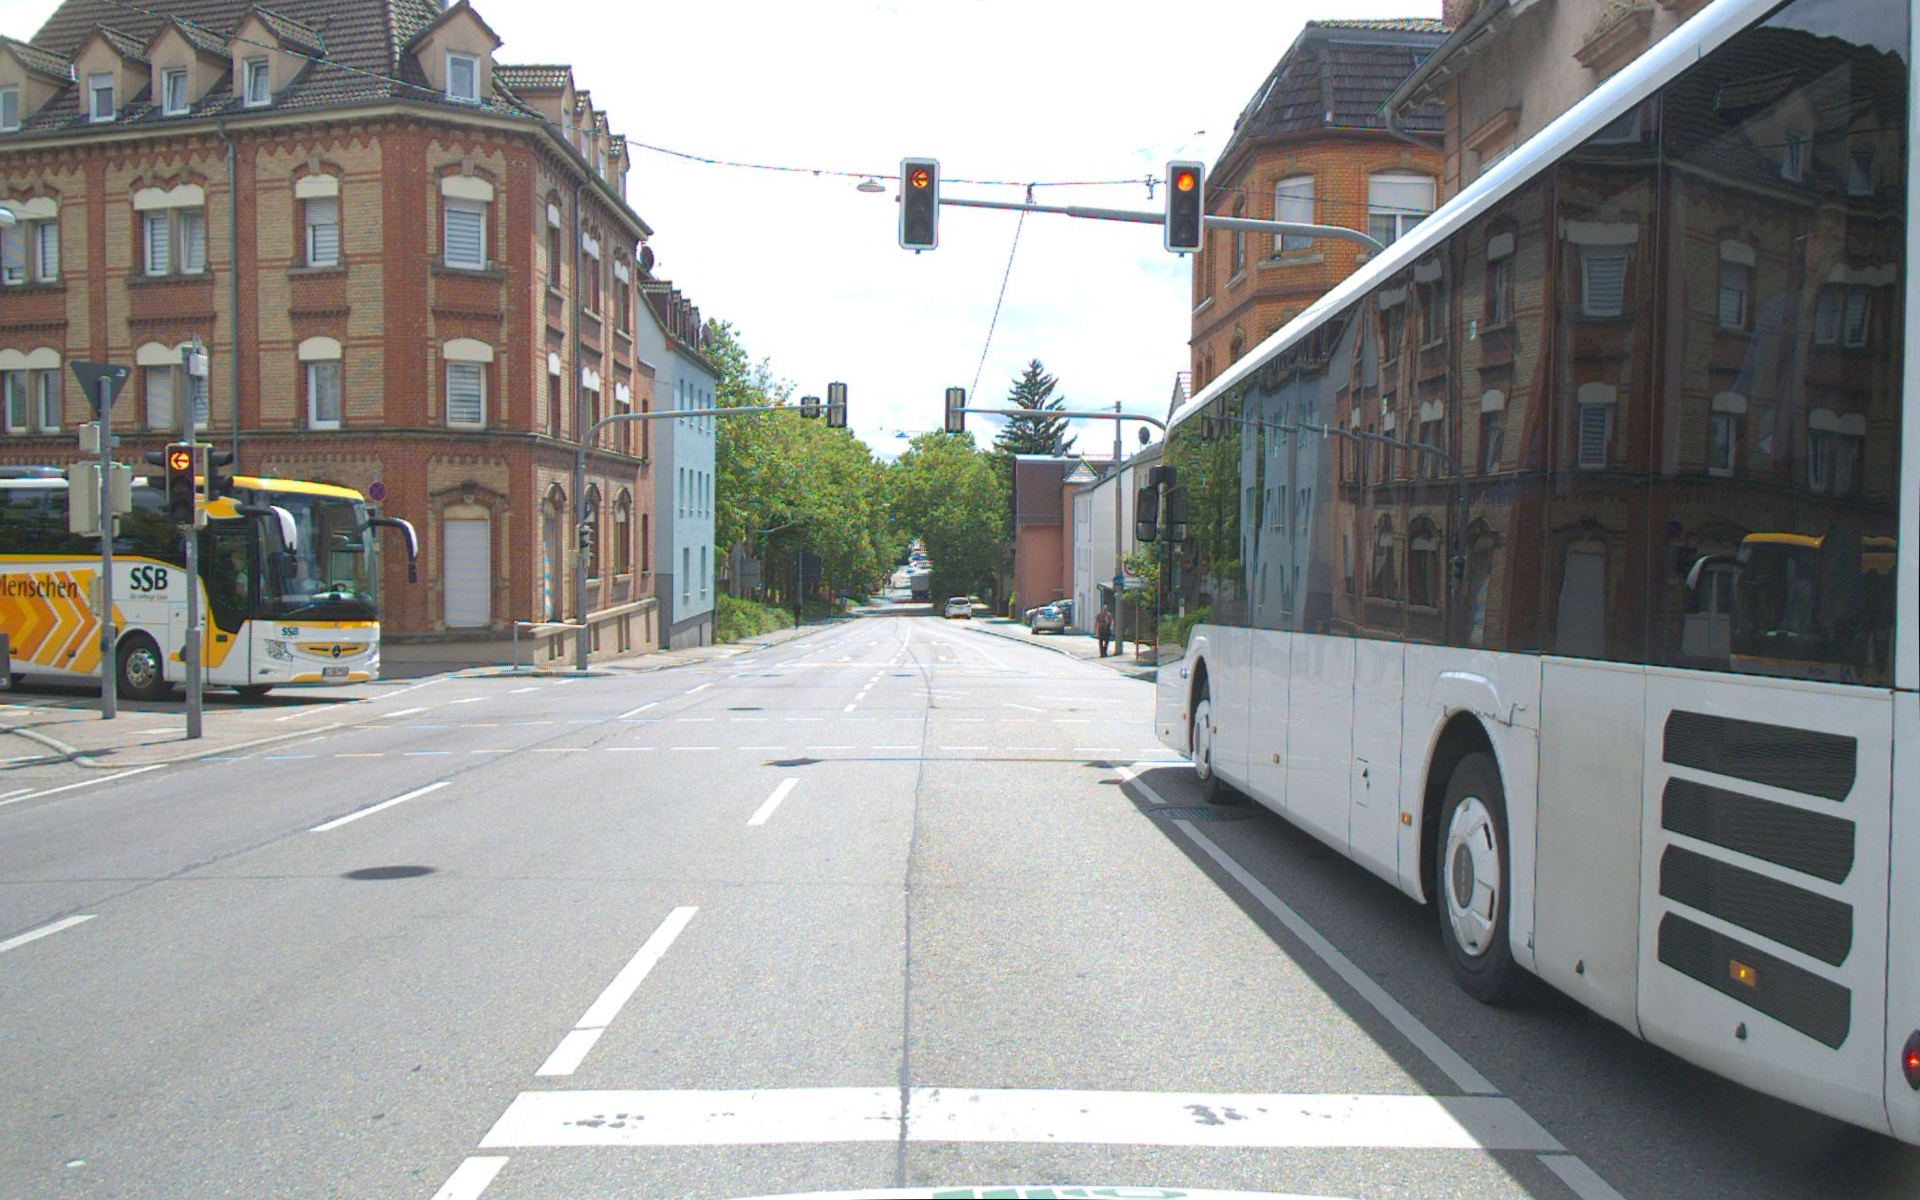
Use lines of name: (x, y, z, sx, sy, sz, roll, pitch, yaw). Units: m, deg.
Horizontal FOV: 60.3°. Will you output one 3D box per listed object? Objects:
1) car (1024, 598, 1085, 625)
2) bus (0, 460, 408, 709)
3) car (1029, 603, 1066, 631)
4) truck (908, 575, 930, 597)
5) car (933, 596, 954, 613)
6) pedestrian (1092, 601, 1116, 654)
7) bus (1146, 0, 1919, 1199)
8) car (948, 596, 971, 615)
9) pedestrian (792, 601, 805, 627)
car: (6.484, 0.777, 113.256, 3.909, 1.788, 1.998, -1, 0, -6)
bus: (-15.079, -0.279, 28.120, 11.976, 3.685, 2.770, 0, 0, 23)
car: (4.911, 0.946, 93.131, 1.758, 1.434, 3.999, -1, 1, -2)
truck: (-5.885, -2.002, 236.462, 2.868, 3.135, 7.881, -1, 0, -3)
car: (-1.410, 0.399, 145.797, 1.757, 1.434, 4.418, 1, 0, 0)
pedestrian: (4.938, 0.937, 56.731, 0.723, 1.781, 0.619, -1, 0, -1)
bus: (3.129, -0.169, 9.366, 2.618, 3.211, 12.459, 0, 0, -1)
car: (-0.067, 0.454, 129.425, 1.757, 1.434, 4.000, 1, 0, 0)
pedestrian: (-9.641, 0.836, 98.637, 0.714, 1.592, 0.560, 0, 0, -2)
